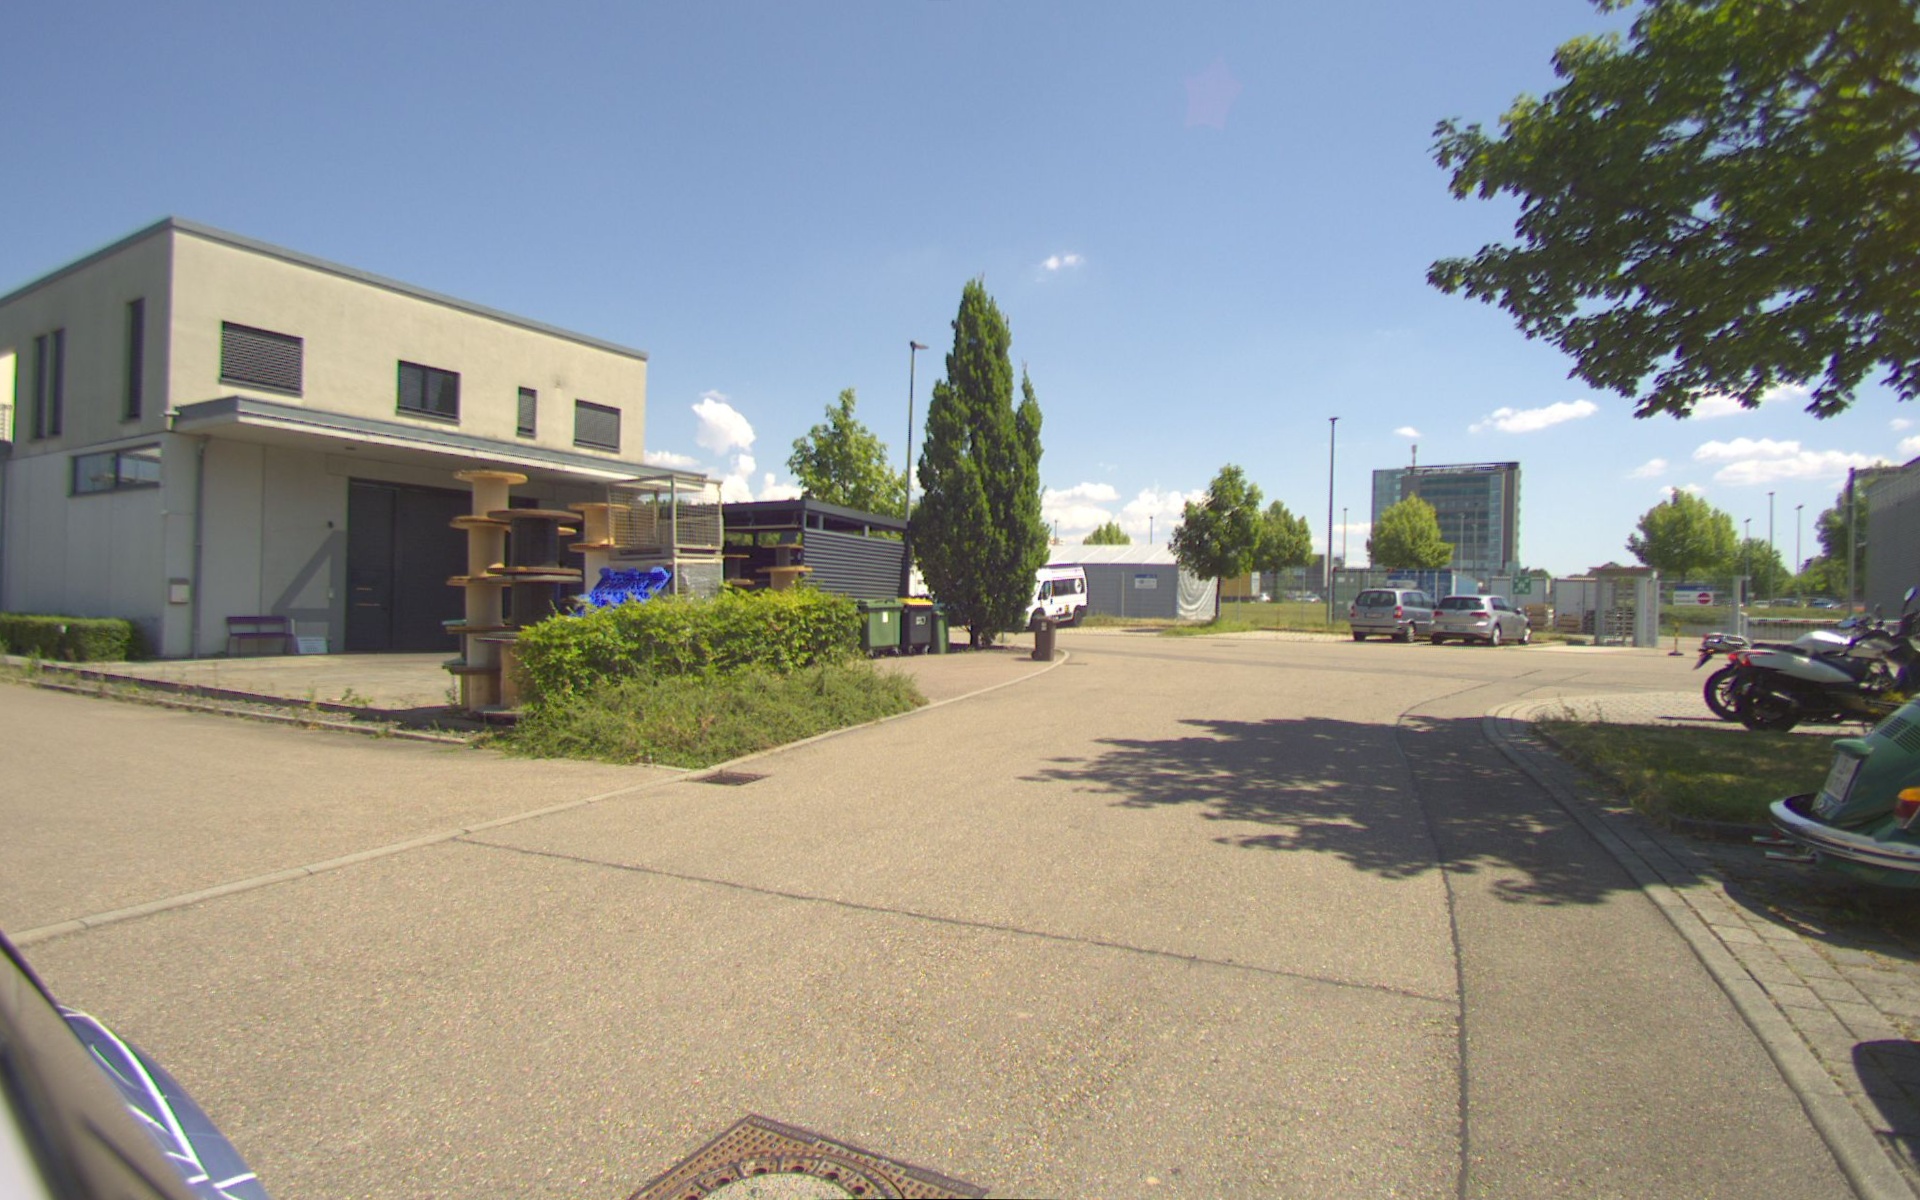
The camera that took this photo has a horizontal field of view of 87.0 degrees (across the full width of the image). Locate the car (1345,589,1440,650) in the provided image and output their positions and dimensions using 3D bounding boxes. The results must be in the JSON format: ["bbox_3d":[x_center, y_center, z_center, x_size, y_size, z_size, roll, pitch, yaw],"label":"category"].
[{"bbox_3d":[13.417,0.548,31.303,1.770,1.751,3.949,0,0,38],"label":"car"}]

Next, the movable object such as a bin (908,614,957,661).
[{"bbox_3d":[-0.662,0.904,24.770,0.759,1.092,0.976,0,0,37],"label":"movable object such as a bin"}]

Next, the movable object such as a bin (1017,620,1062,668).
[{"bbox_3d":[1.690,0.930,21.505,0.759,0.977,0.583,0,0,37],"label":"movable object such as a bin"}]

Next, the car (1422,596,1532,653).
[{"bbox_3d":[15.060,0.671,29.408,3.940,1.533,1.655,0,0,-44],"label":"car"}]

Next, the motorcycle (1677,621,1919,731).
[{"bbox_3d":[9.119,0.799,11.108,1.978,1.117,0.480,0,0,25],"label":"motorcycle"}]

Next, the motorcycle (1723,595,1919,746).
[{"bbox_3d":[8.653,0.658,9.772,1.978,1.400,0.480,0,0,25],"label":"motorcycle"}]

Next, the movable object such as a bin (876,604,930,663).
[{"bbox_3d":[-1.340,0.782,23.912,0.759,1.346,1.059,0,0,37],"label":"movable object such as a bin"}]

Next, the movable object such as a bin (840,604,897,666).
[{"bbox_3d":[-2.047,0.765,22.776,0.759,1.346,1.059,0,0,37],"label":"movable object such as a bin"}]

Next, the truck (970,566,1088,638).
[{"bbox_3d":[2.887,0.074,40.899,2.411,2.692,5.635,0,0,32],"label":"truck"}]

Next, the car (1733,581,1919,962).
[{"bbox_3d":[5.582,0.665,3.880,3.869,1.459,1.639,0,0,25],"label":"car"}]
